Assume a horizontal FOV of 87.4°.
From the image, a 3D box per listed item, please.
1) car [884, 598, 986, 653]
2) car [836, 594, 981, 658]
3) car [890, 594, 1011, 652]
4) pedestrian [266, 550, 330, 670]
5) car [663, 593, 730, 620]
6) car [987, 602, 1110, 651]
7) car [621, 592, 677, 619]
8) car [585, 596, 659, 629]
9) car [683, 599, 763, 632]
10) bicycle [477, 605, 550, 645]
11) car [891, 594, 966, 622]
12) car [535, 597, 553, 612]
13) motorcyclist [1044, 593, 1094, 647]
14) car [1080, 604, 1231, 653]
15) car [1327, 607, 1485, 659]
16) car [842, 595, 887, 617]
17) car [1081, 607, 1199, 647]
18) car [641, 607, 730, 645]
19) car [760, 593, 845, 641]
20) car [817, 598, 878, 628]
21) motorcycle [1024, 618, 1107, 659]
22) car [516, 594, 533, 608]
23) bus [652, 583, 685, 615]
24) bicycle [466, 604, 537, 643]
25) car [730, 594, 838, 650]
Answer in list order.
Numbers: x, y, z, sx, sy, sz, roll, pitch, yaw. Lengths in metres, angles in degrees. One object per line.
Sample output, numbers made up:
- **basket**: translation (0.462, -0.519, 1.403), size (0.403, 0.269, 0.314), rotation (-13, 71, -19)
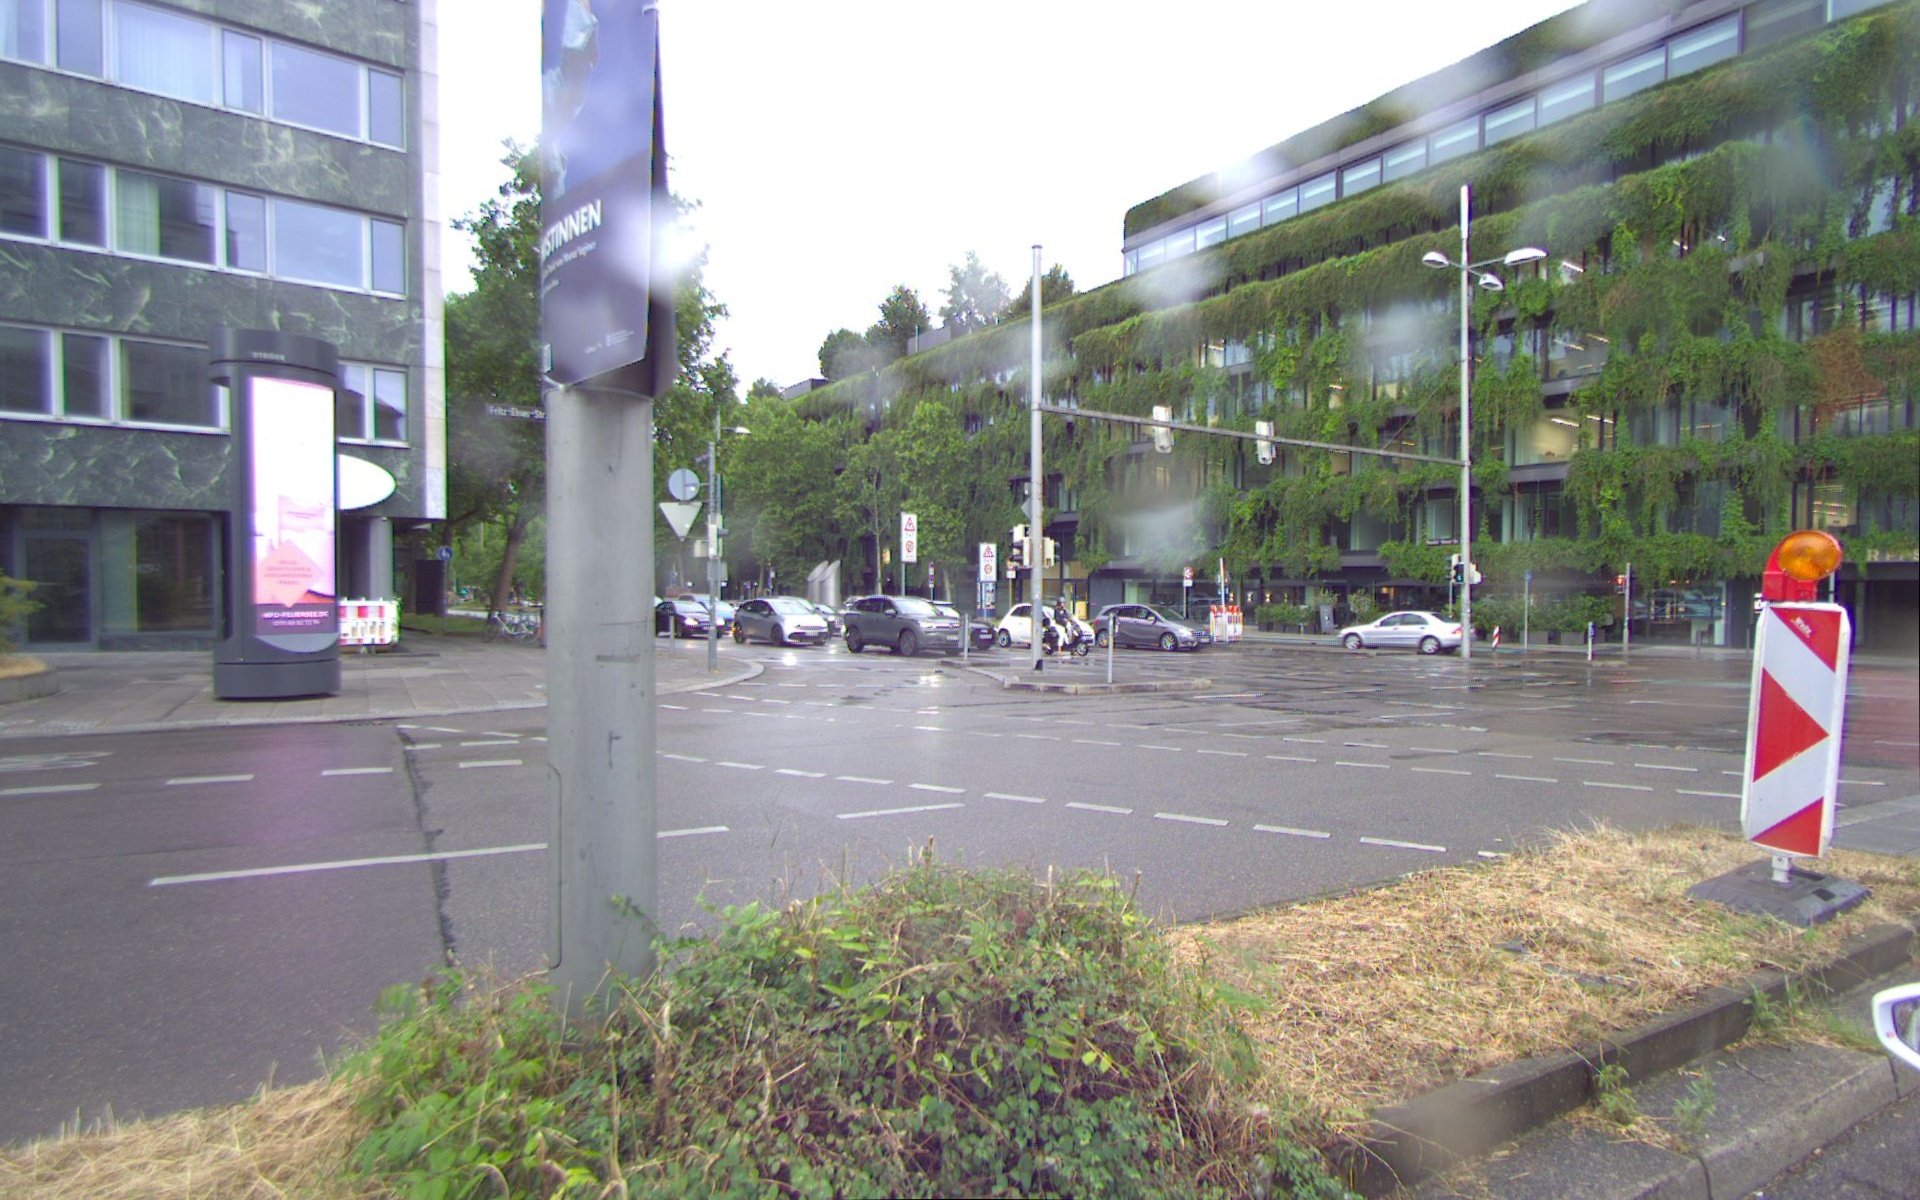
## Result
- **car**: translation (-0.996, 0.907, 37.769), size (1.978, 1.923, 4.139), rotation (1, 0, -33)
- **car**: translation (-1.563, 0.697, 29.132), size (1.984, 1.709, 4.314), rotation (1, 0, -41)
- **car**: translation (-0.366, 0.704, 32.536), size (1.981, 1.773, 3.958), rotation (1, 0, -37)
- **pedestrian**: translation (-11.431, 0.176, 17.362), size (0.715, 2.040, 0.598), rotation (1, 0, -10)
- **car**: translation (-13.916, 0.330, 52.929), size (1.982, 1.389, 4.131), rotation (1, 0, -37)
- **car**: translation (2.887, 0.851, 33.471), size (1.981, 1.495, 3.958), rotation (1, 0, -37)
- **car**: translation (-18.671, 0.324, 60.213), size (1.918, 1.544, 4.057), rotation (1, 0, -38)
- **car**: translation (-15.342, 0.557, 45.461), size (1.982, 1.389, 4.131), rotation (1, 0, -37)
- **car**: translation (-10.661, 0.691, 45.027), size (1.982, 1.389, 4.131), rotation (1, 0, -37)
- **bicycle**: translation (-12.283, 0.674, 27.638), size (1.765, 1.066, 0.581), rotation (1, 0, -35)
- **car**: translation (-1.903, 0.470, 59.589), size (1.799, 1.532, 4.636), rotation (2, 0, -45)
- **car**: translation (-57.196, 0.627, 138.159), size (1.975, 2.040, 3.972), rotation (2, 0, -27)
- **motorcyclist**: translation (3.149, 0.577, 28.998), size (1.153, 1.492, 0.832), rotation (2, 0, 40)
- **car**: translation (6.633, 0.929, 34.416), size (4.842, 1.508, 1.922), rotation (1, 0, 45)
- **car**: translation (15.451, 1.089, 34.994), size (1.986, 1.497, 4.673), rotation (-4, 4, -43)
- **car**: translation (-7.355, 0.480, 77.251), size (1.783, 1.588, 3.962), rotation (2, 0, -34)
- **car**: translation (7.789, 1.141, 43.774), size (1.986, 1.496, 4.801), rotation (3, -1, -43)
- **car**: translation (-10.887, 0.997, 39.629), size (1.982, 1.389, 4.131), rotation (1, 0, -37)
- **car**: translation (-6.277, 0.635, 39.674), size (1.841, 1.791, 4.139), rotation (1, 0, -32)
- **car**: translation (-6.610, 0.721, 58.835), size (1.834, 1.692, 3.958), rotation (1, 0, -37)
- **motorcycle**: translation (3.036, 1.097, 29.086), size (2.331, 1.068, 0.830), rotation (2, 0, 41)
- **car**: translation (-62.749, 0.119, 144.784), size (1.975, 2.040, 3.972), rotation (1, 0, -27)
- **bus**: translation (-32.010, -0.167, 110.236), size (1.783, 3.385, 5.922), rotation (2, 0, -34)
- **bicycle**: translation (-12.961, 0.658, 28.416), size (1.765, 1.066, 0.581), rotation (1, 0, -35)
- **car**: translation (-6.004, 0.692, 34.040), size (1.982, 1.773, 3.956), rotation (1, 0, -38)
